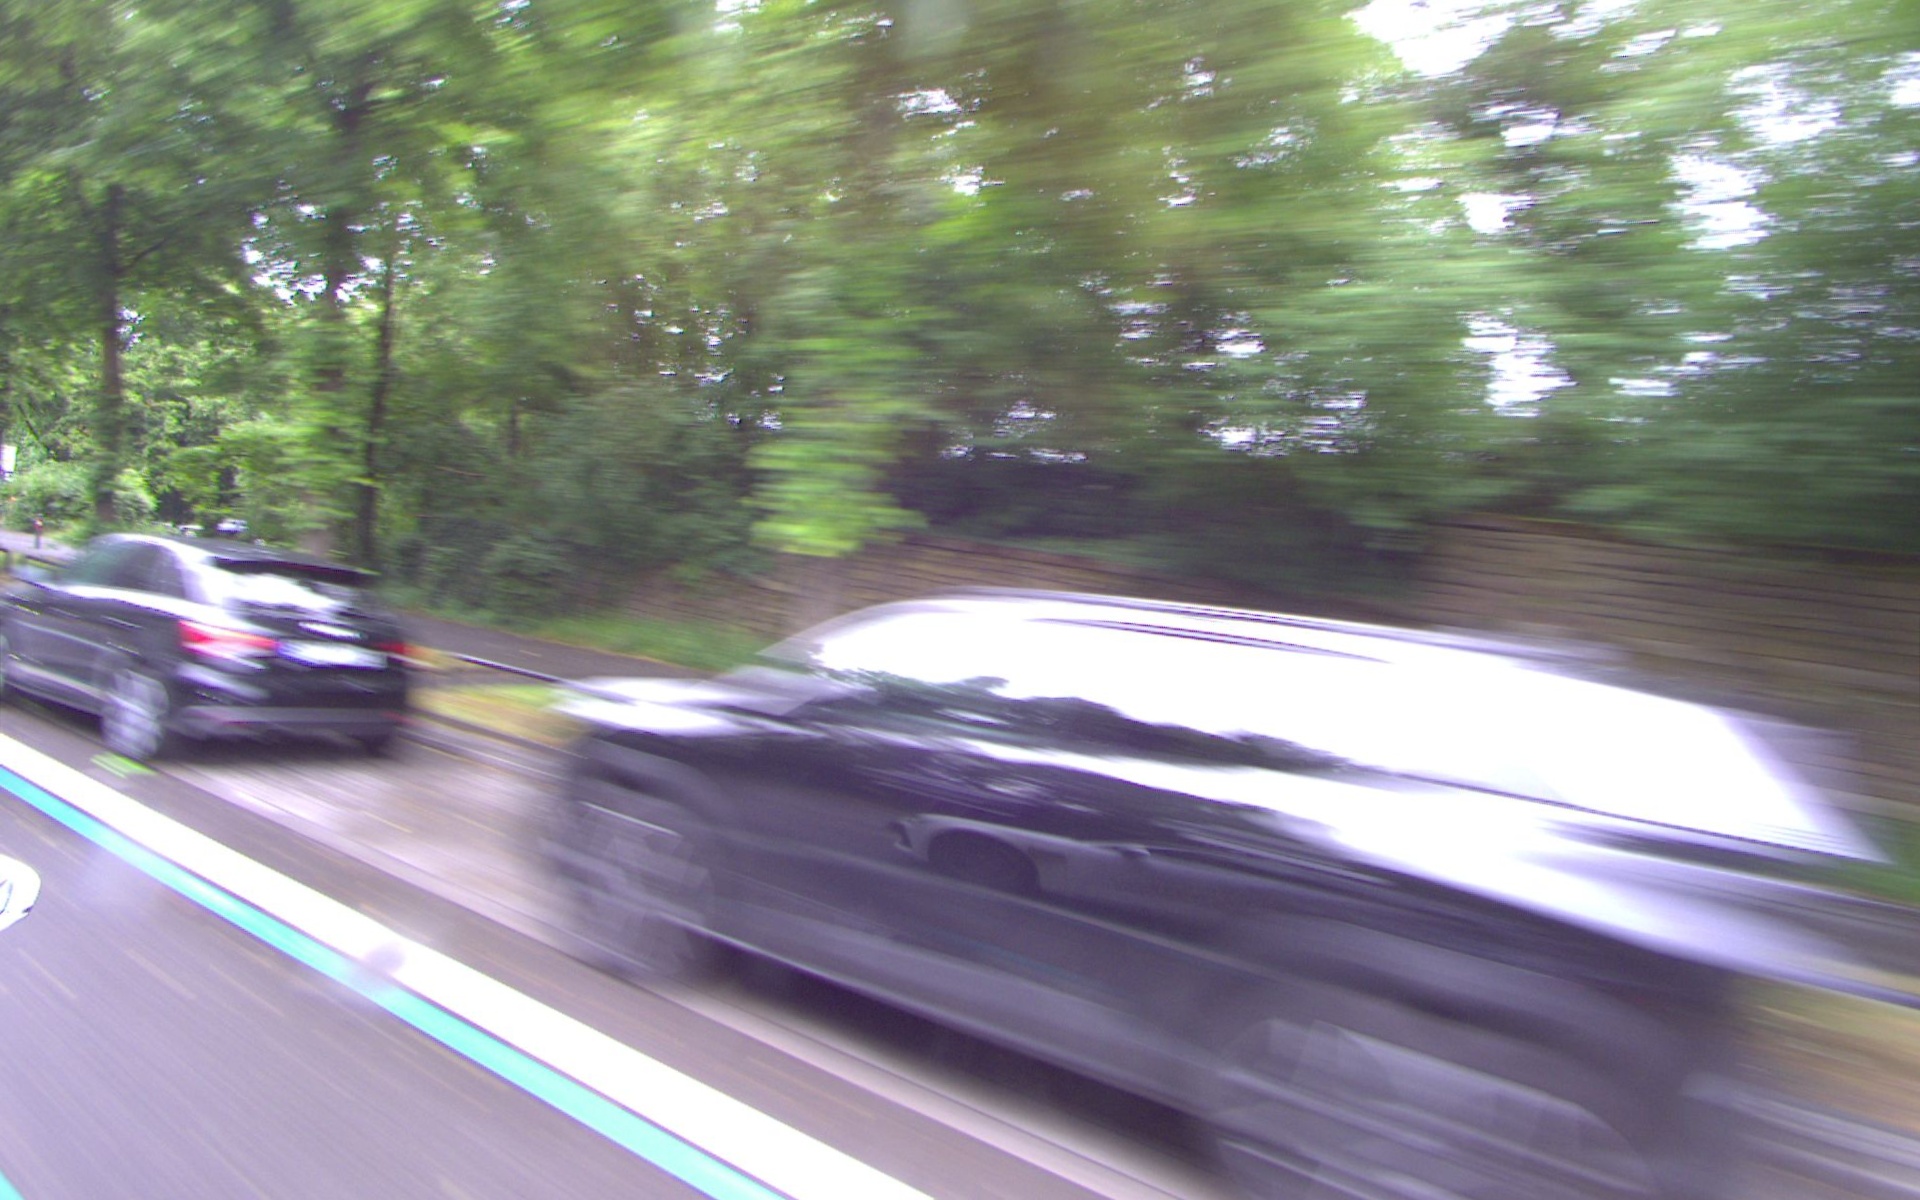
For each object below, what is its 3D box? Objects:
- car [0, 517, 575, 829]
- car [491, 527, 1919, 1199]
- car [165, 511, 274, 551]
[{"bbox_3d":[-4.636,0.353,6.764,3.934,1.392,1.681,6,-2,32],"label":"car"},{"bbox_3d":[0.514,0.818,3.950,4.274,1.663,1.999,6,-3,29],"label":"car"},{"bbox_3d":[-35.907,-3.334,48.848,4.116,1.338,1.870,6,0,-39],"label":"car"}]
